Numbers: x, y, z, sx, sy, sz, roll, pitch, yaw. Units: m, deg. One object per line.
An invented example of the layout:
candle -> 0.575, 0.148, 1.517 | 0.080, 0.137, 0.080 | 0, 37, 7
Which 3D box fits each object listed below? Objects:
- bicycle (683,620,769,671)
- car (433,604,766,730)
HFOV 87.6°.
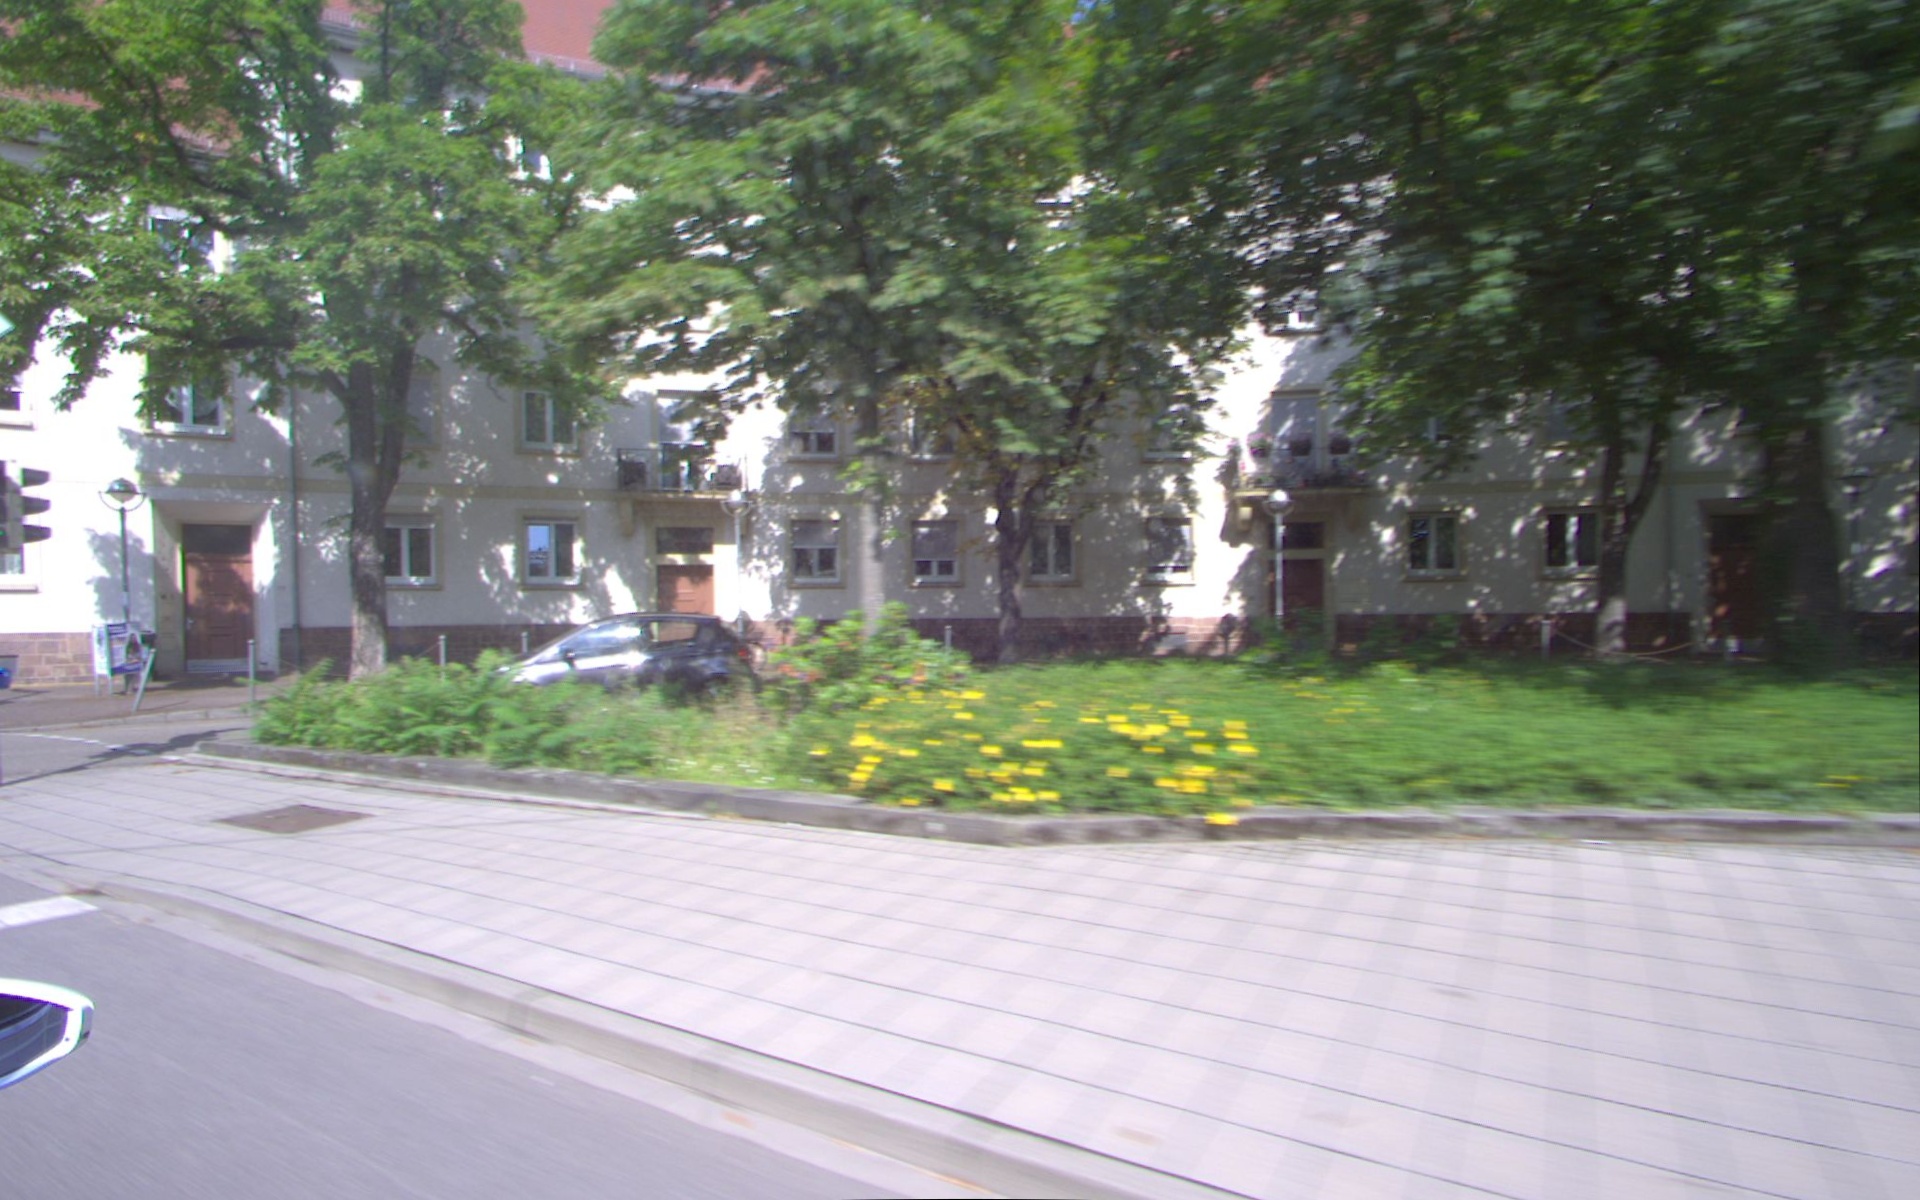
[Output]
bicycle -> -4.996, 0.963, 21.477 | 1.719, 1.034, 0.566 | 0, 2, -5
car -> -4.869, 0.850, 14.004 | 4.097, 1.530, 1.848 | 0, 1, -16
